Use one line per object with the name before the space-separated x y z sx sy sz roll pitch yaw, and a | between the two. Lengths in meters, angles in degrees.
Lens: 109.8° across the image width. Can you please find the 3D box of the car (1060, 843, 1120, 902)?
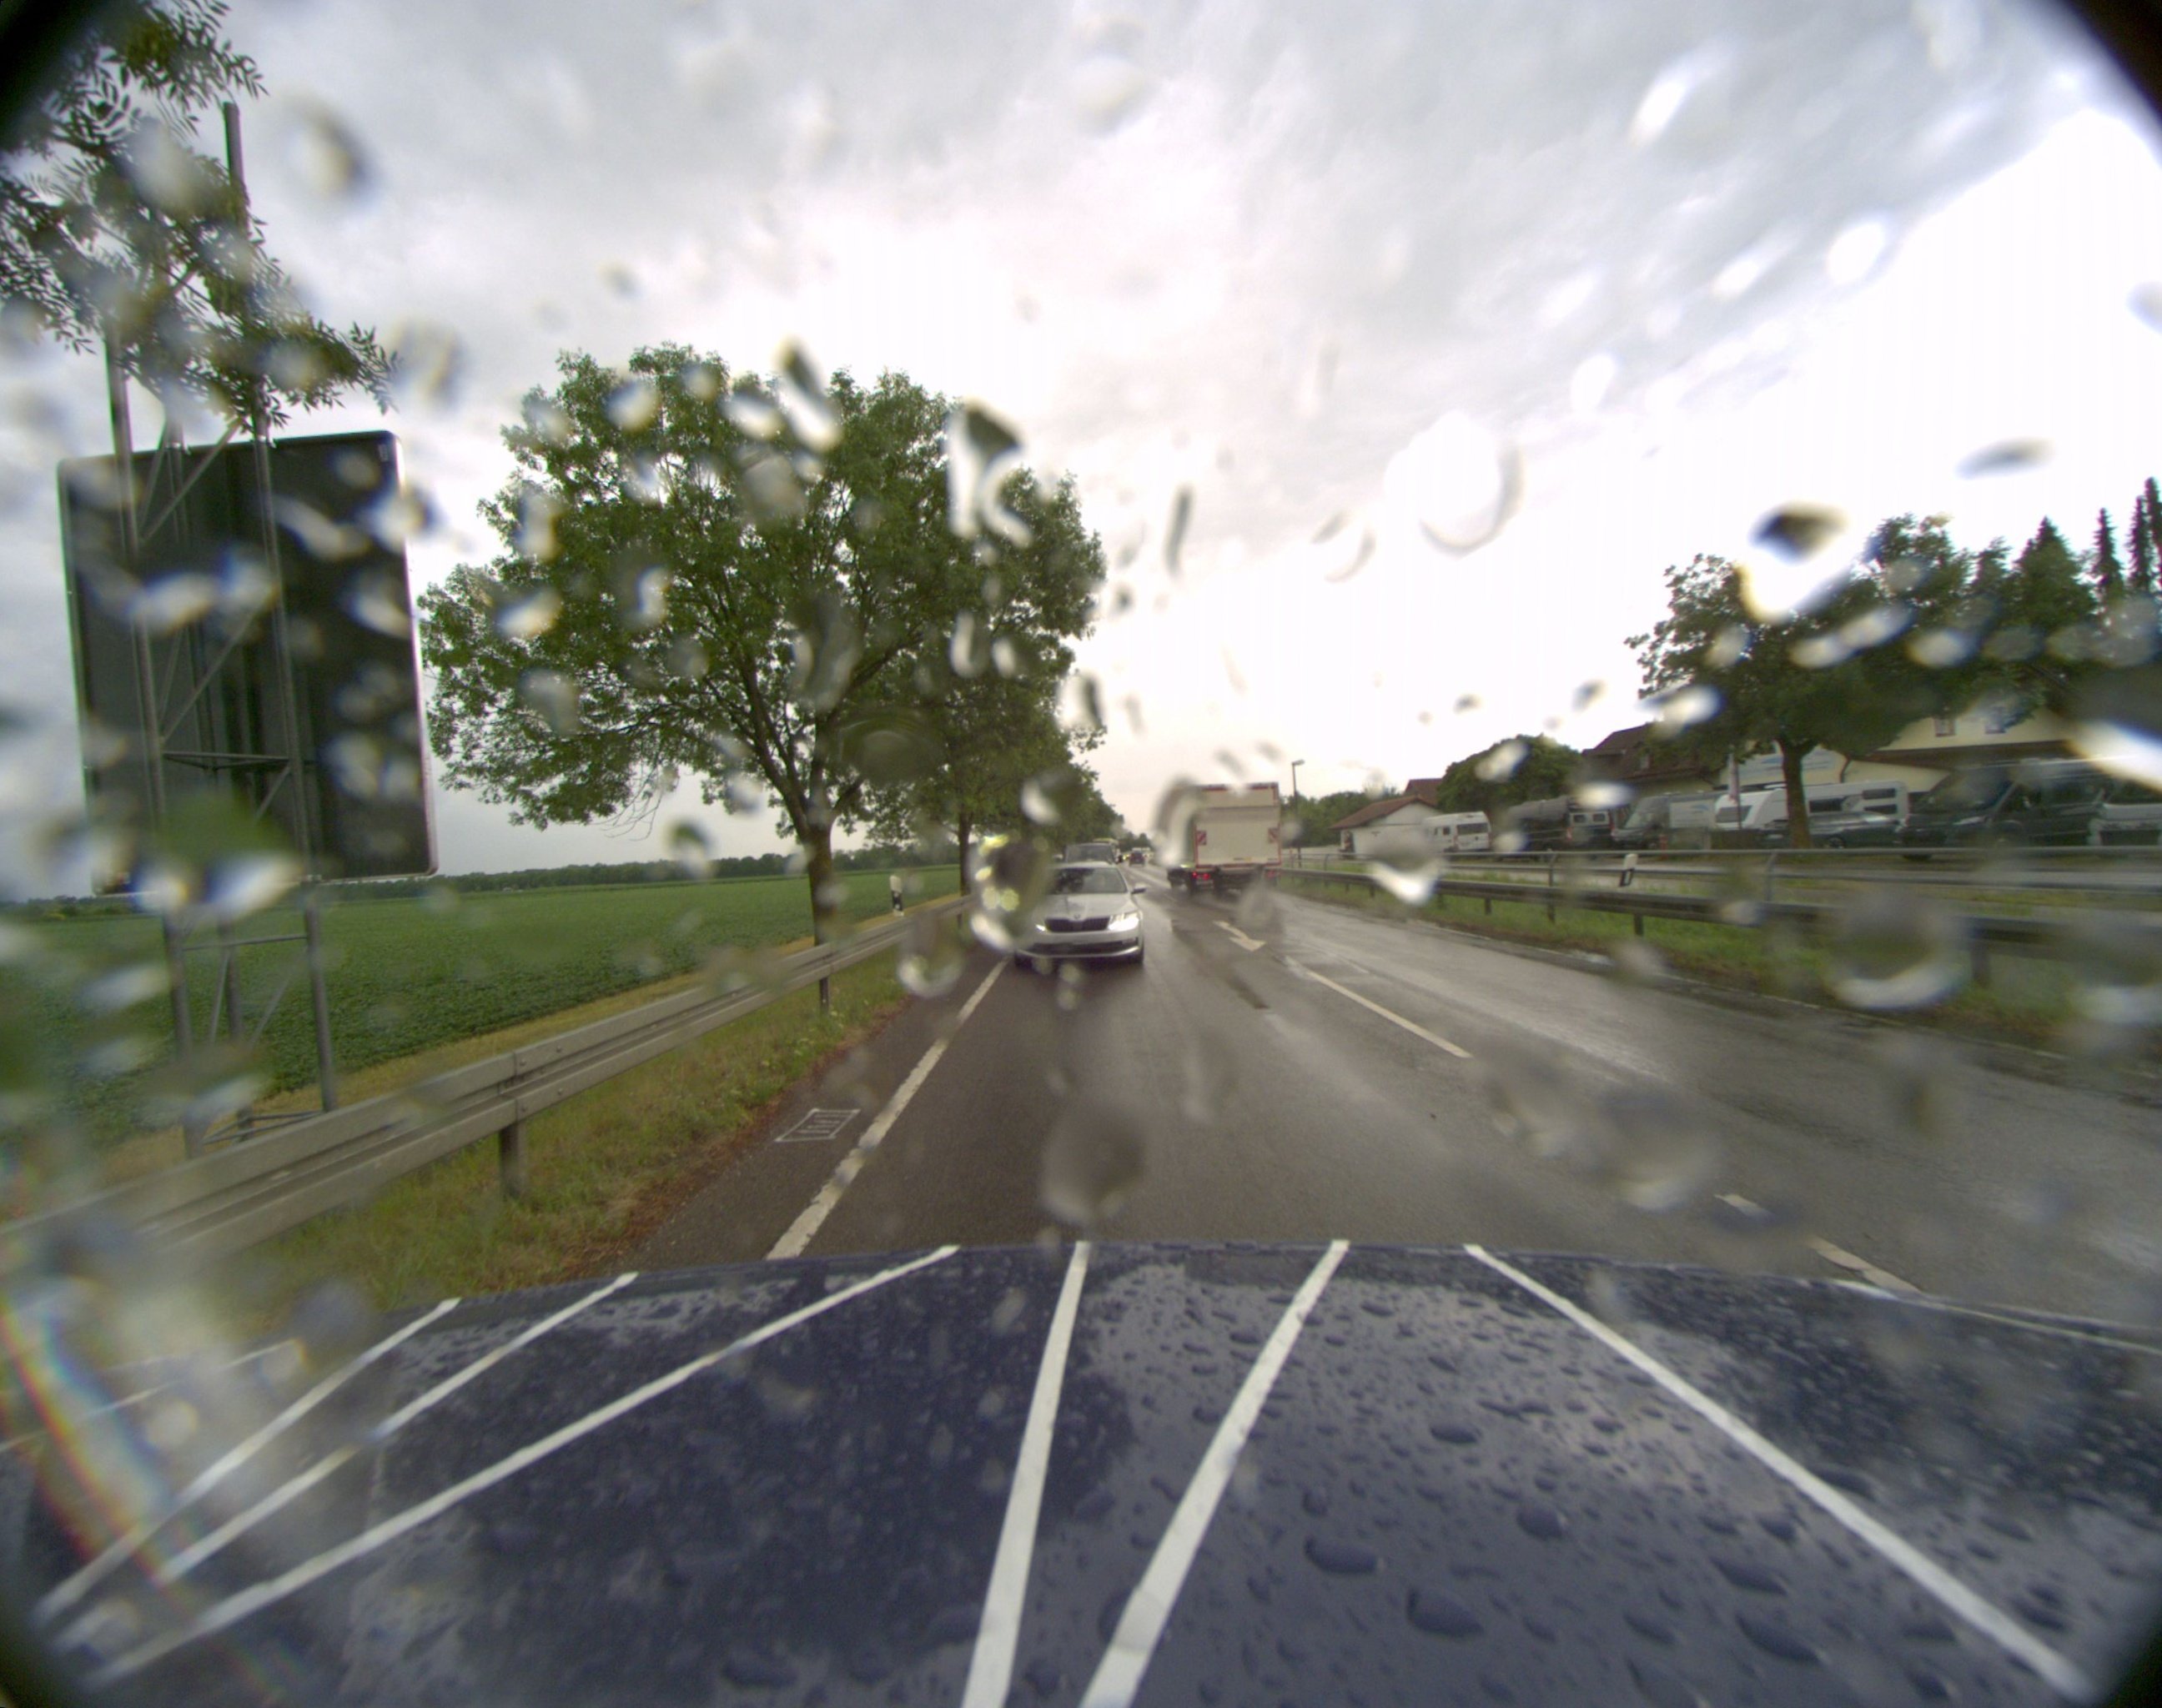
car | 0.302 0.599 26.567 1.903 1.884 4.000 -1 0 0

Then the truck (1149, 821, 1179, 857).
truck | 12.325 -2.124 113.733 3.257 5.004 7.782 -4 0 0

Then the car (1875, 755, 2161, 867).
car | 24.580 -1.086 20.046 5.196 2.487 1.999 -4 0 -2

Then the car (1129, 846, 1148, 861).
car | 6.625 -0.020 87.565 1.768 1.610 4.000 -2 0 0

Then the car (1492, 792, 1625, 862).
car | 21.350 -1.126 34.345 2.389 2.747 5.572 -4 0 1

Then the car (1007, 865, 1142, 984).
car | -0.075 0.943 11.813 1.705 1.438 4.000 -1 0 0

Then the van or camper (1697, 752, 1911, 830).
van or camper | 29.351 -2.498 31.038 6.239 2.576 2.561 -4 0 -1

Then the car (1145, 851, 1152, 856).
car | 21.346 -0.175 239.041 1.811 1.723 4.027 -3 0 1

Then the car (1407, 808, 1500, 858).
car | 21.115 -1.128 43.434 2.243 2.565 6.019 -4 0 1

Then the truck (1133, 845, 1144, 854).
truck | 16.504 -1.375 217.548 2.800 2.461 7.169 -3 0 4

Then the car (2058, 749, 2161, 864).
car | 25.591 -1.175 16.940 5.105 2.445 1.999 -4 0 -2

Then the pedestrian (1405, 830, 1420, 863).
pedestrian | 17.203 -0.381 39.447 0.516 1.701 0.650 -3 1 9

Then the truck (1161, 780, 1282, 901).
truck | 4.595 -0.400 26.880 2.582 3.432 9.556 -2 0 1

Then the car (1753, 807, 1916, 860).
car | 25.259 -0.659 25.556 3.894 1.487 1.540 -4 0 0

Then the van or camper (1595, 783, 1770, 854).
van or camper | 27.682 -1.572 35.139 6.069 2.785 2.434 -4 0 -1

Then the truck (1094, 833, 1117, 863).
truck | 3.219 -0.792 100.288 2.751 3.547 8.387 -3 0 2
